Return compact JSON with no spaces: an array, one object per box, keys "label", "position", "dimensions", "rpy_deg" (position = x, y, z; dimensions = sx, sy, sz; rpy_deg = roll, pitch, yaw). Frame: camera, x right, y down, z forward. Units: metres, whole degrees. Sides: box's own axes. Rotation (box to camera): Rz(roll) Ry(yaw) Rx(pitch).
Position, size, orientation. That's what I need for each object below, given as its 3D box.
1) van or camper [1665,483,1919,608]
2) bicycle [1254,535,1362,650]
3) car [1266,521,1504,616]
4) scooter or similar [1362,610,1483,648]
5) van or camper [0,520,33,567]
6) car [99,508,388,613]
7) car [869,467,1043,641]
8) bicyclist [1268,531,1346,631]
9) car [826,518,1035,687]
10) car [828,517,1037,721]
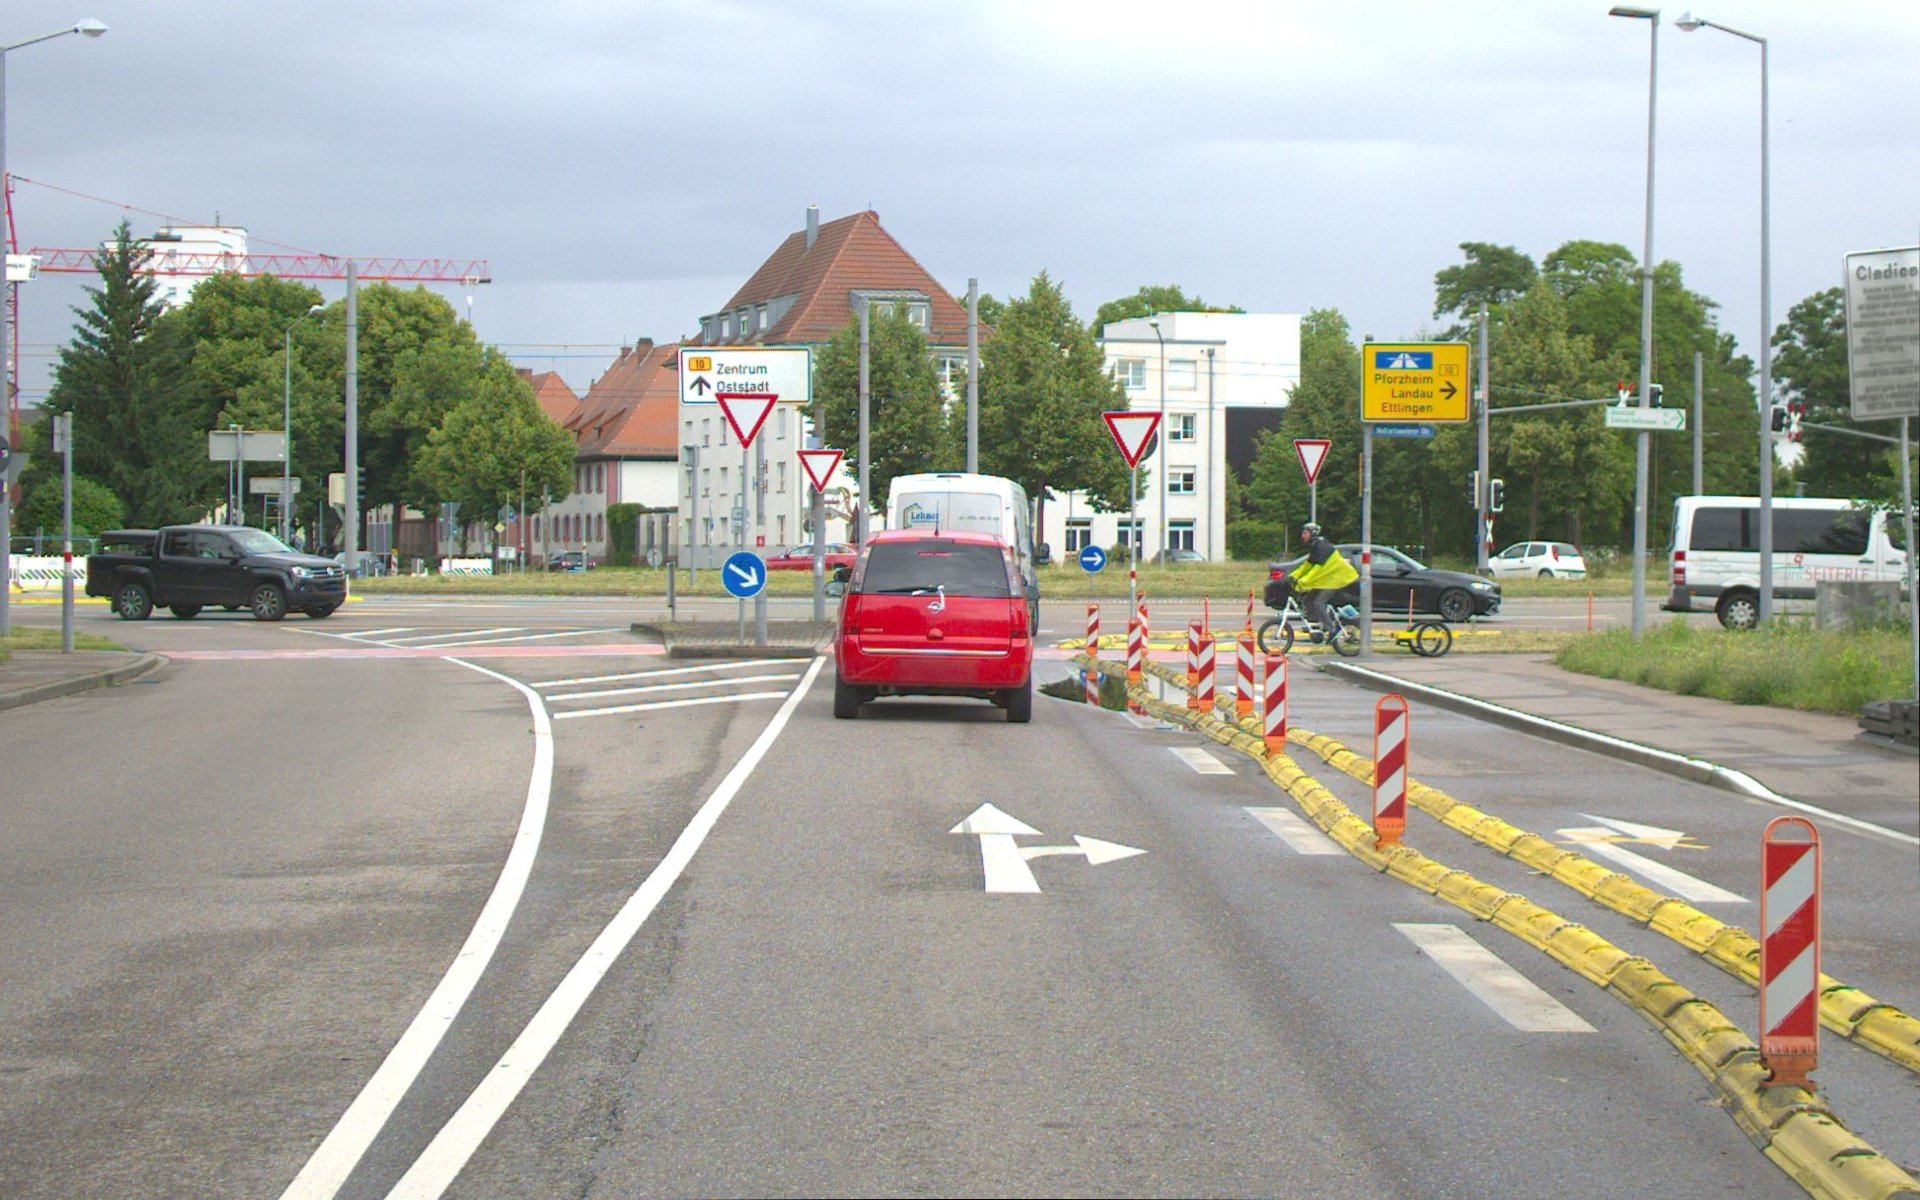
[{"label":"van or camper","position":[15.057,-0.950,59.598],"dimensions":[5.537,2.108,1.999],"rpy_deg":[0,1,12]},{"label":"bicycle","position":[4.911,-0.111,48.576],"dimensions":[1.477,1.606,0.606],"rpy_deg":[0,1,3]},{"label":"car","position":[8.031,-0.606,64.759],"dimensions":[4.362,1.744,1.999],"rpy_deg":[0,1,10]},{"label":"scooter or similar","position":[6.511,0.409,48.457],"dimensions":[1.607,0.502,0.924],"rpy_deg":[0,1,3]},{"label":"van or camper","position":[-42.736,-2.409,146.163],"dimensions":[6.179,2.007,1.999],"rpy_deg":[0,1,10]},{"label":"car","position":[-13.789,-0.767,66.167],"dimensions":[5.030,1.965,2.221],"rpy_deg":[0,1,20]},{"label":"car","position":[-0.001,-0.728,53.508],"dimensions":[2.195,2.531,4.961],"rpy_deg":[1,1,5]},{"label":"bicyclist","position":[4.898,-0.276,48.572],"dimensions":[1.062,1.396,0.615],"rpy_deg":[0,1,3]},{"label":"car","position":[-0.314,-0.013,36.699],"dimensions":[2.059,1.642,4.607],"rpy_deg":[1,1,0]},{"label":"car","position":[-0.237,0.123,29.988],"dimensions":[1.673,1.635,3.627],"rpy_deg":[1,1,0]}]
